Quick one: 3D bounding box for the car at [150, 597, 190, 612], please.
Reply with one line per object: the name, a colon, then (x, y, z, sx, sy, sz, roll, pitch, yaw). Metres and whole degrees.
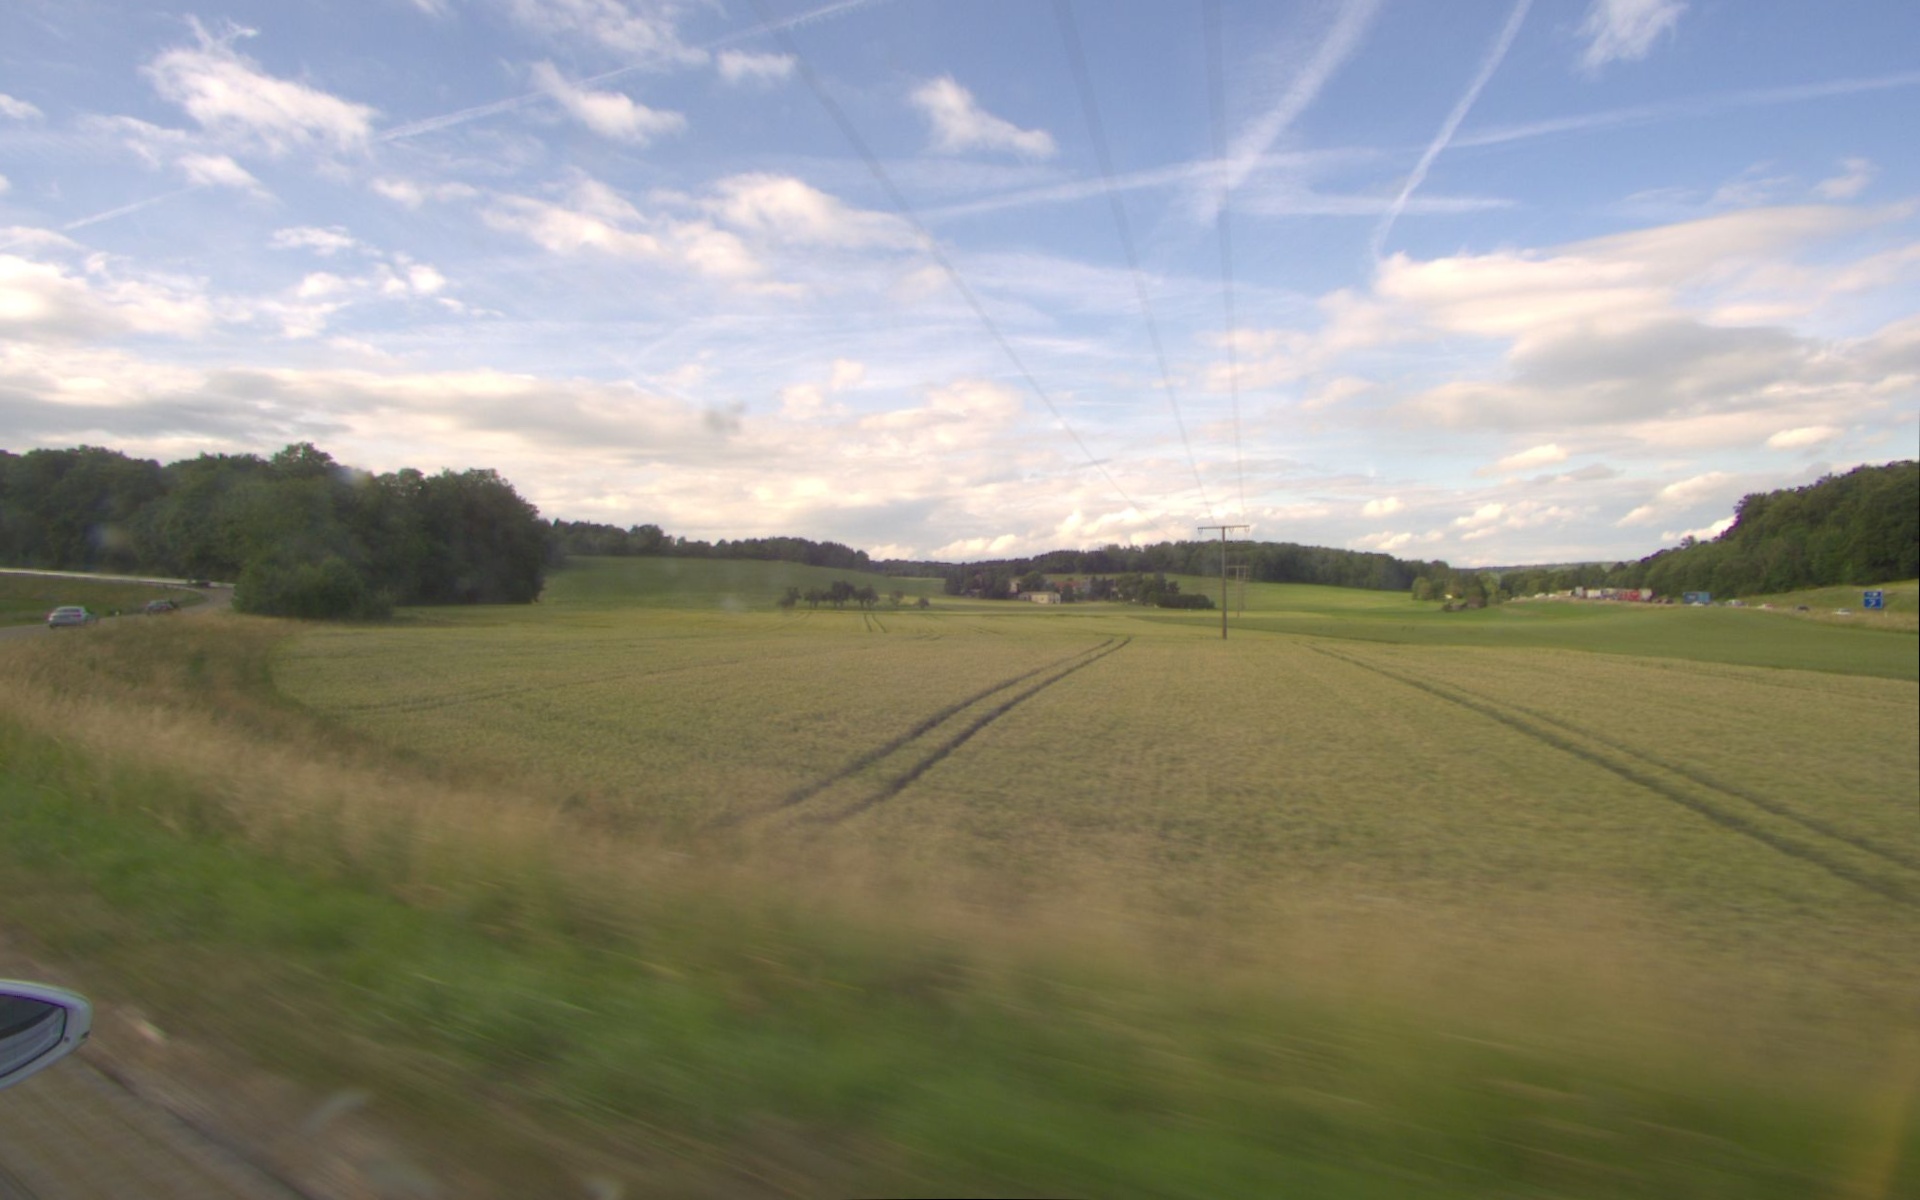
car: (-70.004, 0.391, 88.767, 1.449, 1.243, 3.295, -3, 1, -13)

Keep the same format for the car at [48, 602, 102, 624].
car: (-59.359, 0.842, 67.249, 1.661, 1.394, 3.984, -2, 0, -26)

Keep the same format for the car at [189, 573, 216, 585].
car: (-127.520, -3.513, 168.563, 3.933, 1.796, 1.994, 2, 2, 24)

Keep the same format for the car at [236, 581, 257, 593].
car: (-103.268, -1.884, 144.950, 1.980, 1.702, 4.137, 0, 2, -43)
